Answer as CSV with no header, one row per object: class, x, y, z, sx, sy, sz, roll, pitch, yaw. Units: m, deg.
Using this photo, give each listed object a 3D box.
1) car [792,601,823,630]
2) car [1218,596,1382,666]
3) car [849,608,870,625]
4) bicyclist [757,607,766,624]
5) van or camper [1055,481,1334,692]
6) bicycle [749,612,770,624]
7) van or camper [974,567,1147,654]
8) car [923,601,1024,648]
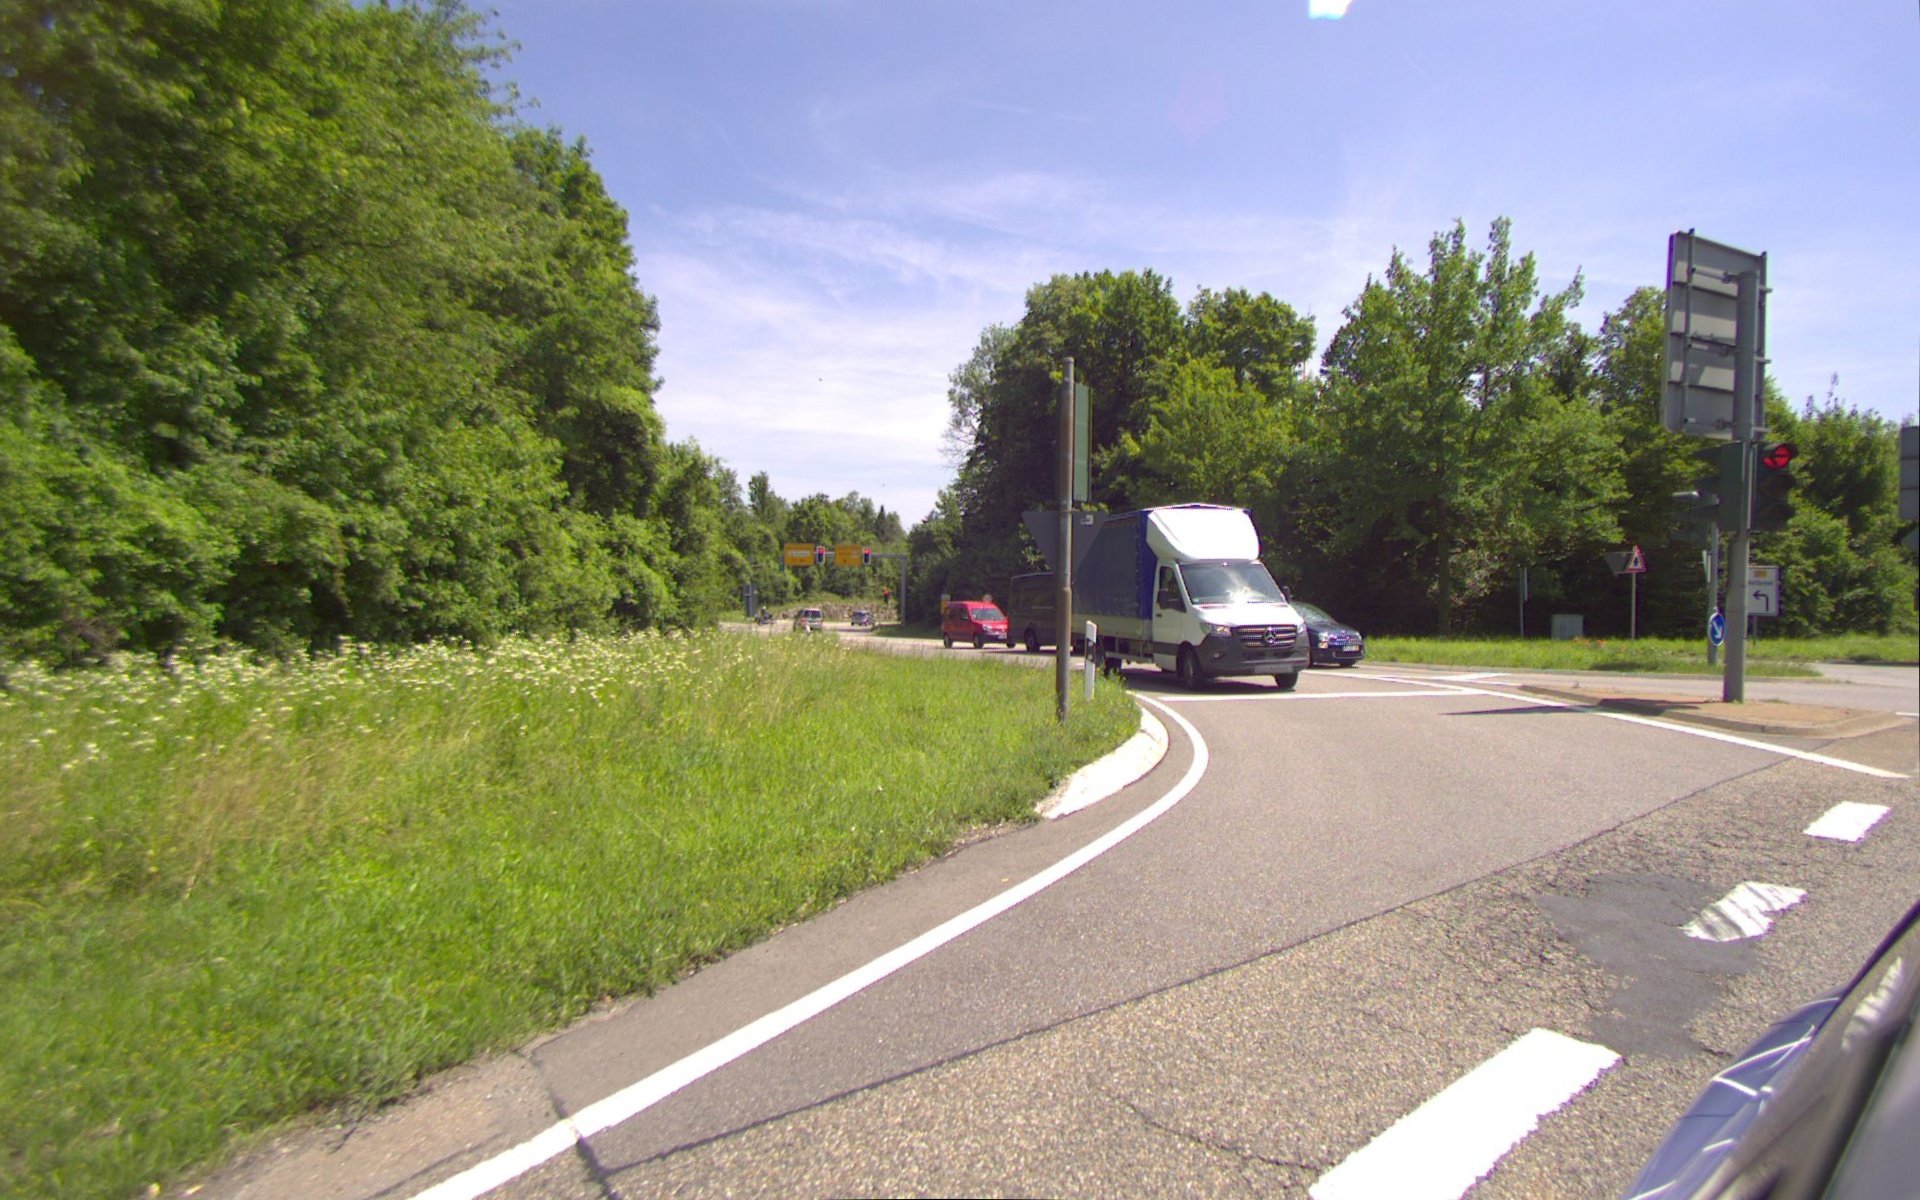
car,-11.491,1.144,76.097,1.958,2.039,4.008,1,0,-13
car,7.716,0.674,23.259,1.655,1.484,3.363,0,-1,-27
car,-10.416,1.715,105.506,1.961,1.683,4.001,0,0,-2
bicyclist,-17.780,1.412,90.808,0.580,1.483,0.573,-1,-1,34
van or camper,4.035,-0.230,19.372,2.060,3.252,7.268,0,0,-14
bicycle,-17.929,1.623,90.534,0.596,1.021,2.101,0,0,32
van or camper,3.029,0.352,33.016,2.359,2.509,7.247,1,-1,-24
car,0.424,0.880,38.911,1.812,1.627,5.130,0,0,-25
